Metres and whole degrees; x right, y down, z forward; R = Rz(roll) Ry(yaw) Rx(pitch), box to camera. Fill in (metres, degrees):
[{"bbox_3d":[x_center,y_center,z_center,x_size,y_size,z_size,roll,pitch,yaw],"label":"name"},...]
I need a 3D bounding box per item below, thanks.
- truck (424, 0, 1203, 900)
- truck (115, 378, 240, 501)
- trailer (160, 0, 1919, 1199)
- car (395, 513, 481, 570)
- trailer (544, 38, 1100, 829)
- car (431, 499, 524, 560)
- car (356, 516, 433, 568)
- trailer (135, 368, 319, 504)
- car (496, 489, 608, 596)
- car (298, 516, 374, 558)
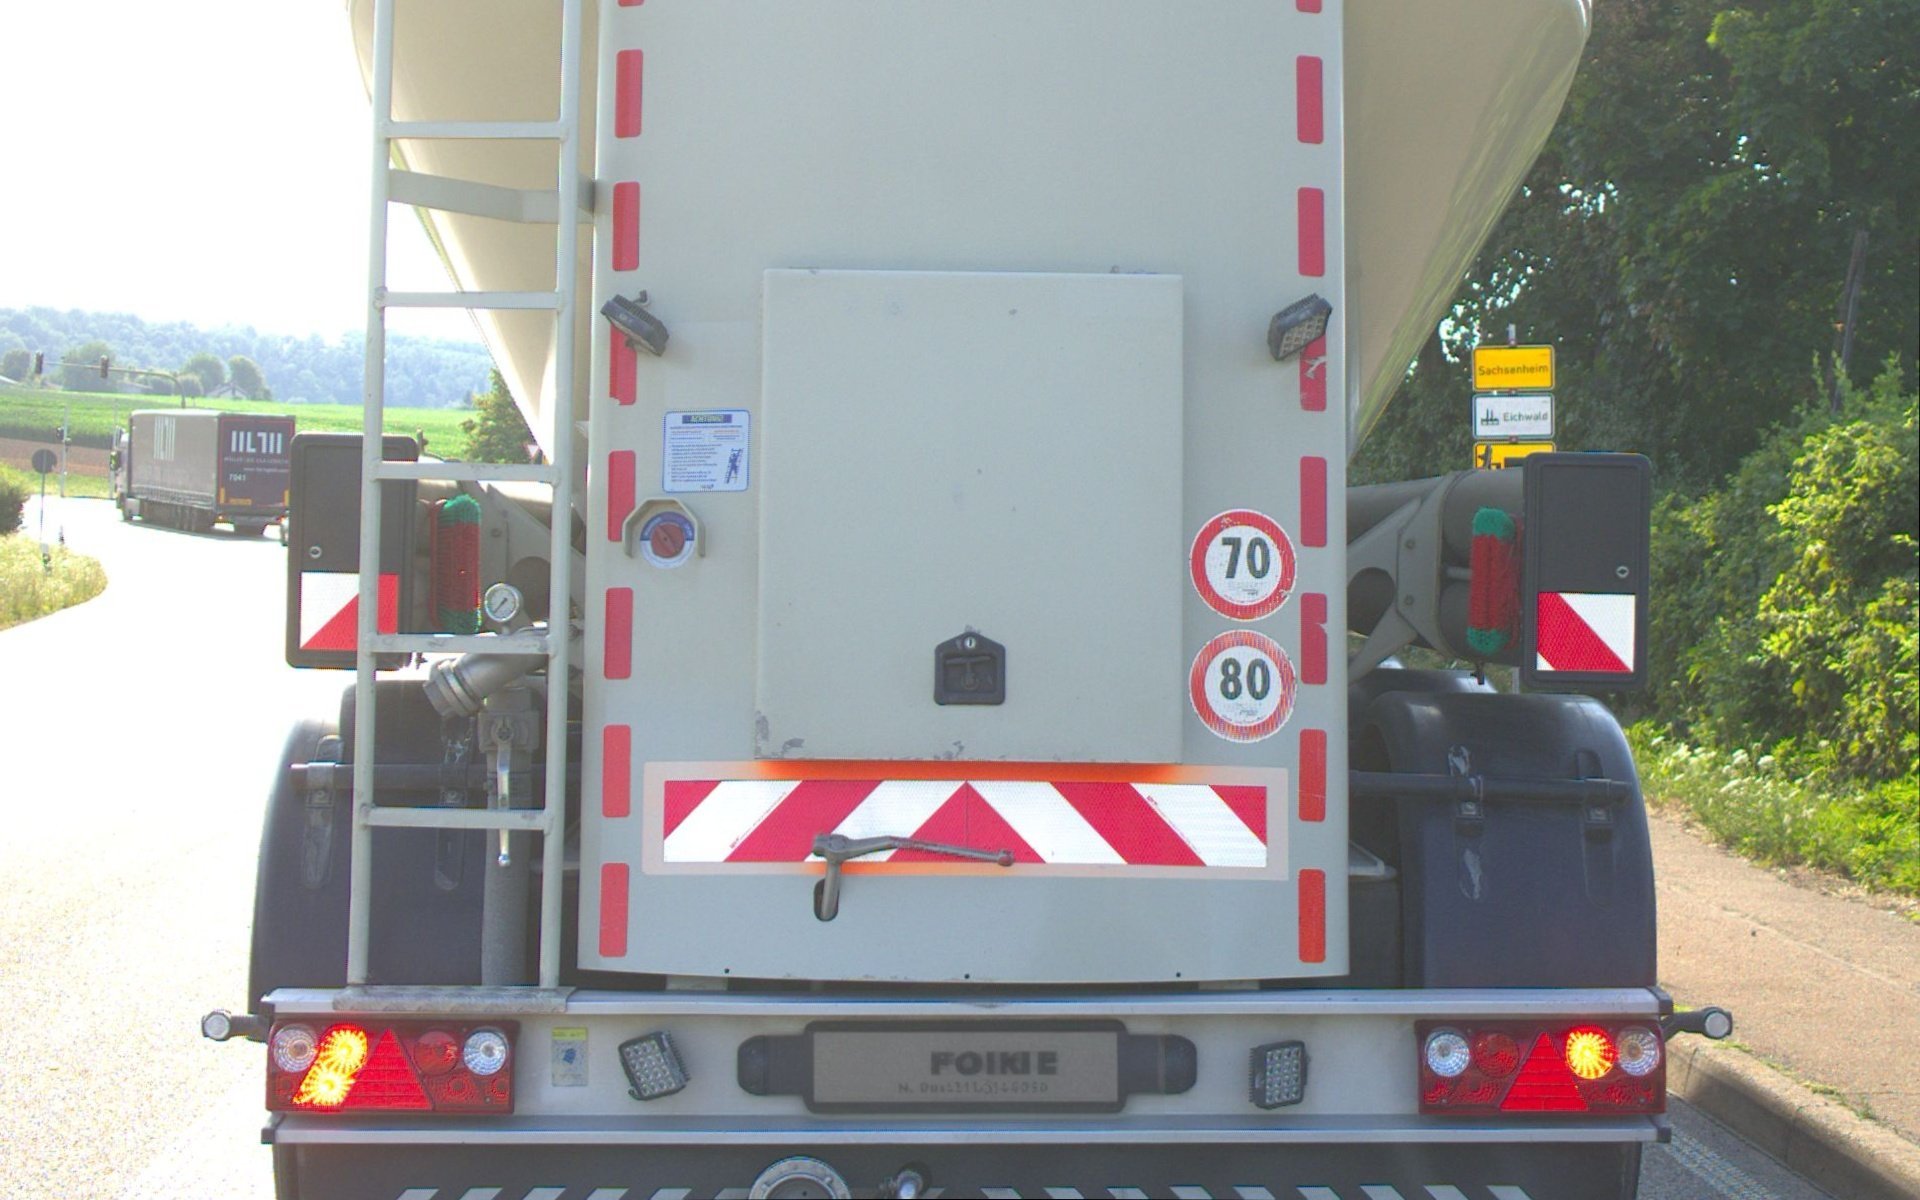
[{"bbox_3d":[-0.738,-0.900,15.009,2.909,3.992,4.060,1,1,-6],"label":"truck"},{"bbox_3d":[-28.995,-5.902,127.242,3.375,4.335,5.707,2,1,-24],"label":"truck"},{"bbox_3d":[-0.300,-0.785,10.571,2.909,3.992,9.932,1,1,-6],"label":"trailer"},{"bbox_3d":[-13.328,-1.502,87.656,1.580,1.336,3.427,2,1,-18],"label":"car"},{"bbox_3d":[-0.823,-1.070,26.231,2.955,4.300,14.176,2,1,0],"label":"trailer"},{"bbox_3d":[-11.459,-1.682,81.479,1.580,1.336,3.427,2,1,-18],"label":"car"},{"bbox_3d":[-15.787,-1.631,95.868,1.580,1.336,3.427,2,1,-18],"label":"car"},{"bbox_3d":[-25.640,-5.601,119.531,3.375,4.335,14.298,2,1,-24],"label":"trailer"},{"bbox_3d":[-7.998,-1.138,67.169,1.861,2.007,3.720,1,1,-11],"label":"car"},{"bbox_3d":[-18.536,-1.874,102.098,1.769,1.201,3.427,-1,2,-18],"label":"car"}]
